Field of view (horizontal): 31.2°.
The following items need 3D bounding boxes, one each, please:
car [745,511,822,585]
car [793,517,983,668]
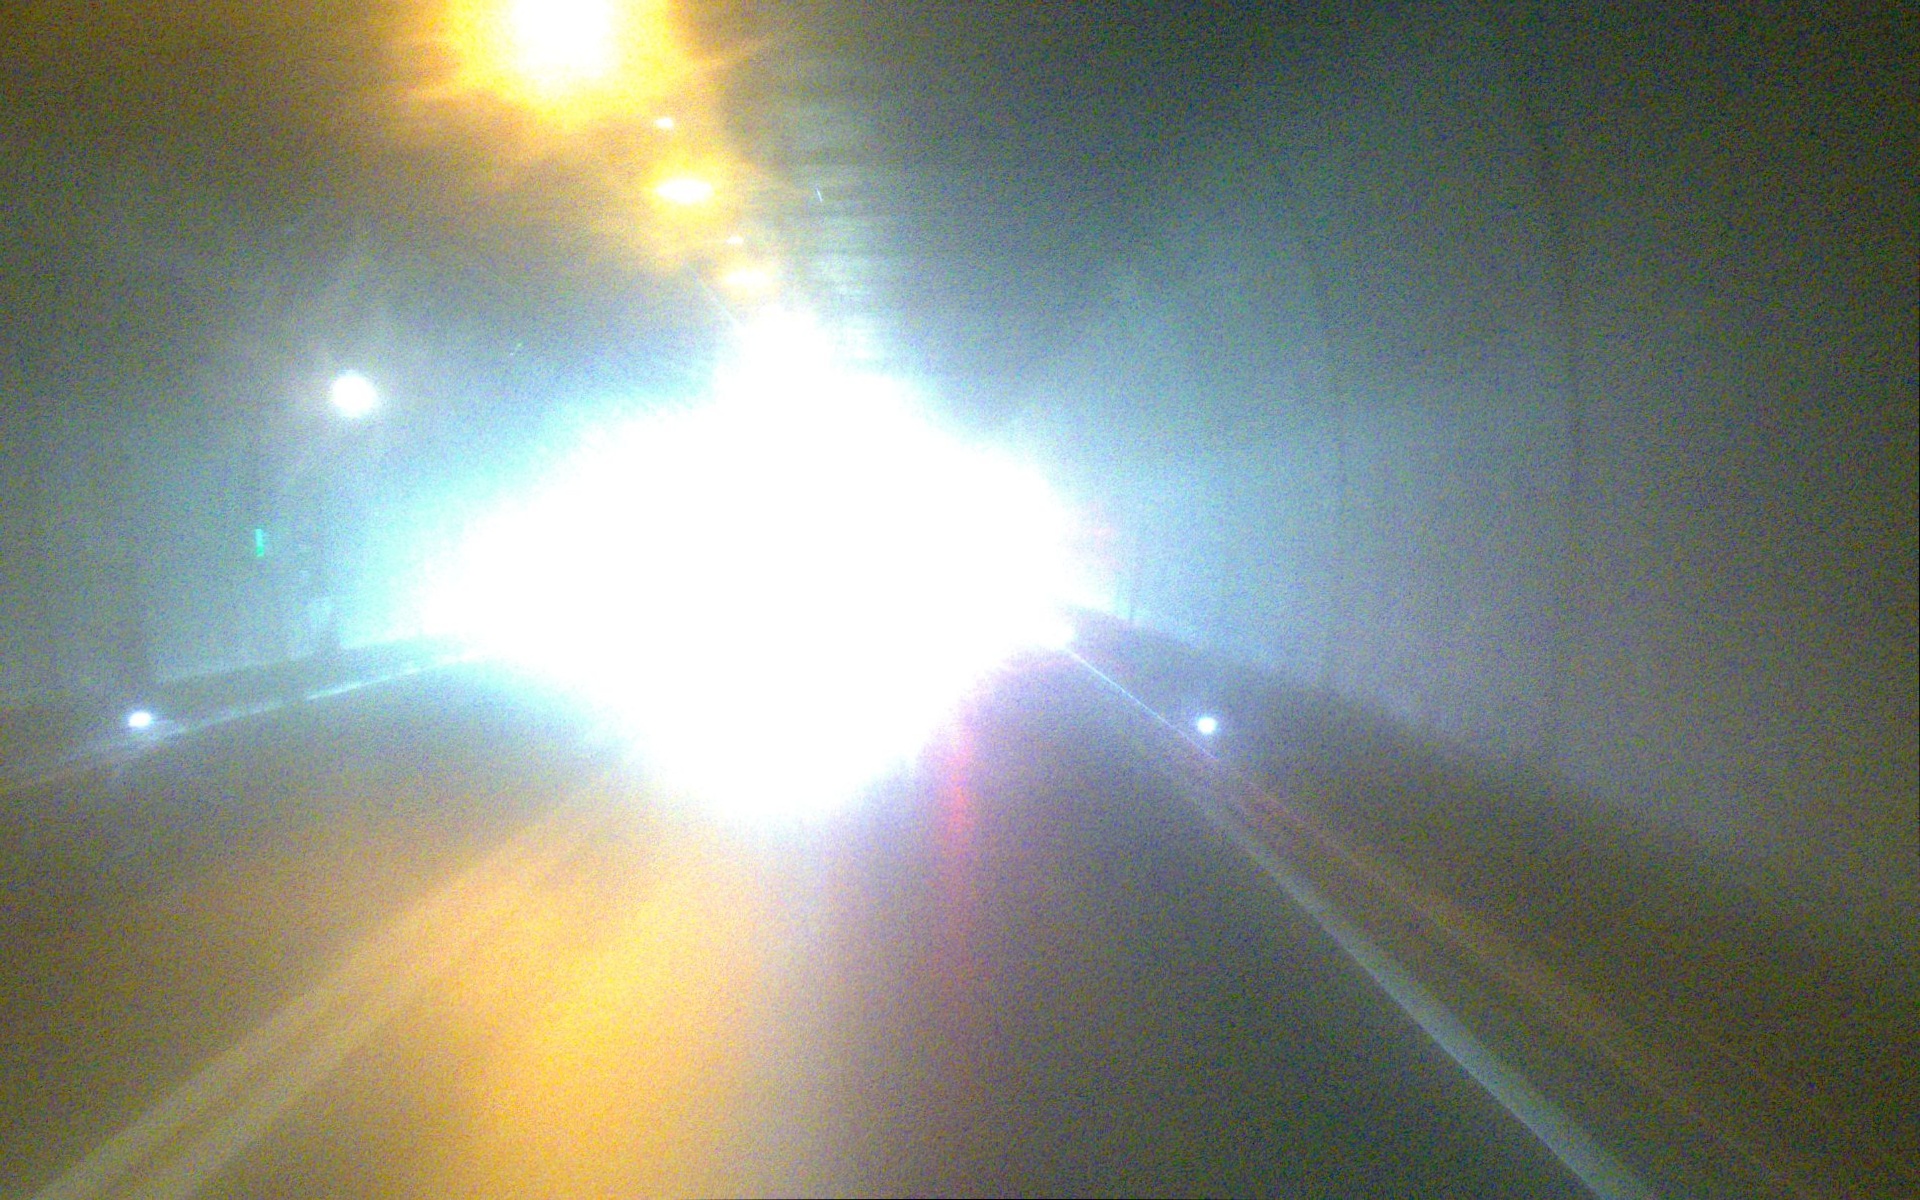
[{"bbox_3d":[-4.884,-1.461,95.492,1.993,2.007,4.000,0,1,-1],"label":"car"},{"bbox_3d":[-0.819,-0.118,39.799,2.089,1.656,4.000,0,1,-1],"label":"car"}]
